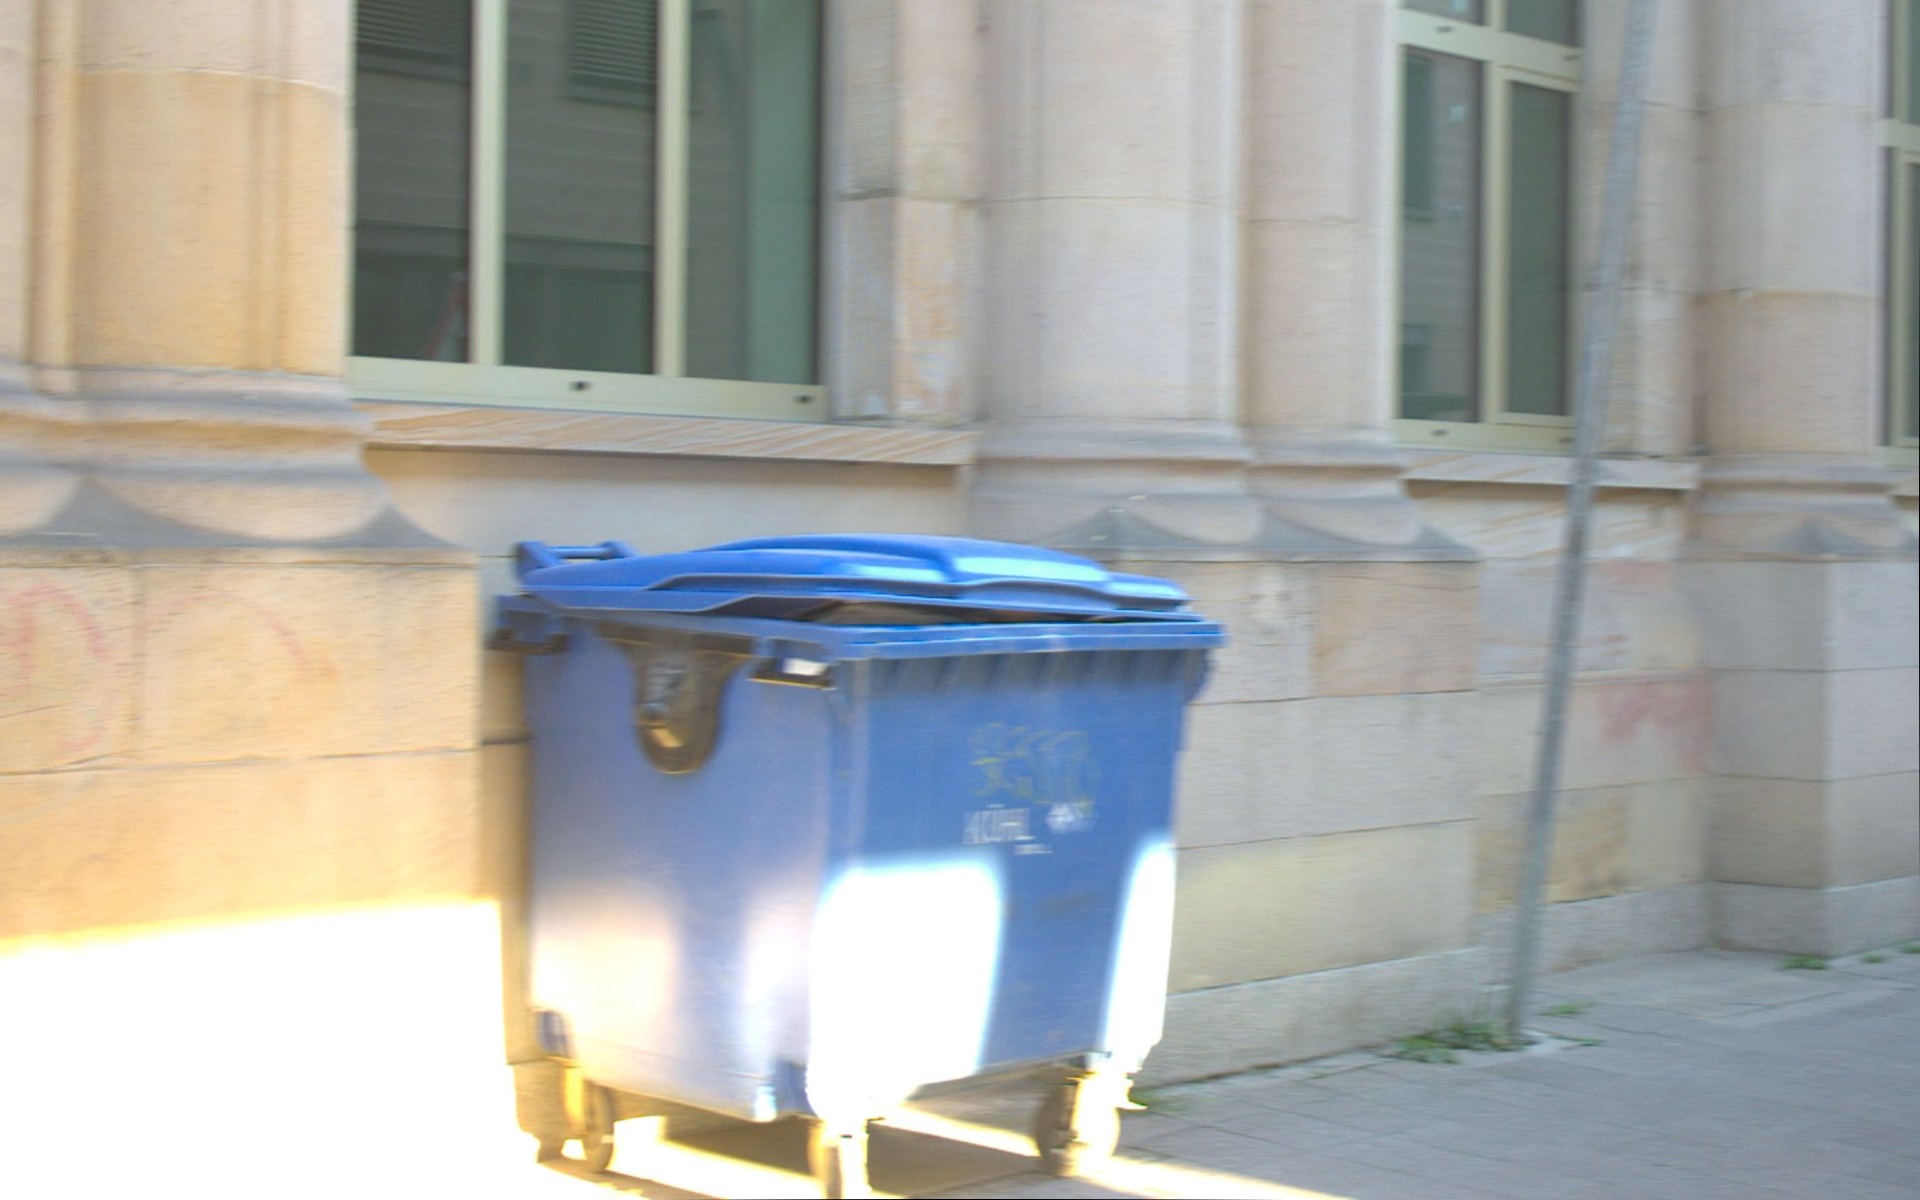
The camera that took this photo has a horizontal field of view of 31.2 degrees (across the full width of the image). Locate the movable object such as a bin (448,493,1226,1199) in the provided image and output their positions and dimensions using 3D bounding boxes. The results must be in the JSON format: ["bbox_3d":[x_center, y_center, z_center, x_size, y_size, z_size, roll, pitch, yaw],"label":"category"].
[{"bbox_3d":[-0.255,0.533,7.246,1.077,1.469,1.184,3,3,44],"label":"movable object such as a bin"}]
